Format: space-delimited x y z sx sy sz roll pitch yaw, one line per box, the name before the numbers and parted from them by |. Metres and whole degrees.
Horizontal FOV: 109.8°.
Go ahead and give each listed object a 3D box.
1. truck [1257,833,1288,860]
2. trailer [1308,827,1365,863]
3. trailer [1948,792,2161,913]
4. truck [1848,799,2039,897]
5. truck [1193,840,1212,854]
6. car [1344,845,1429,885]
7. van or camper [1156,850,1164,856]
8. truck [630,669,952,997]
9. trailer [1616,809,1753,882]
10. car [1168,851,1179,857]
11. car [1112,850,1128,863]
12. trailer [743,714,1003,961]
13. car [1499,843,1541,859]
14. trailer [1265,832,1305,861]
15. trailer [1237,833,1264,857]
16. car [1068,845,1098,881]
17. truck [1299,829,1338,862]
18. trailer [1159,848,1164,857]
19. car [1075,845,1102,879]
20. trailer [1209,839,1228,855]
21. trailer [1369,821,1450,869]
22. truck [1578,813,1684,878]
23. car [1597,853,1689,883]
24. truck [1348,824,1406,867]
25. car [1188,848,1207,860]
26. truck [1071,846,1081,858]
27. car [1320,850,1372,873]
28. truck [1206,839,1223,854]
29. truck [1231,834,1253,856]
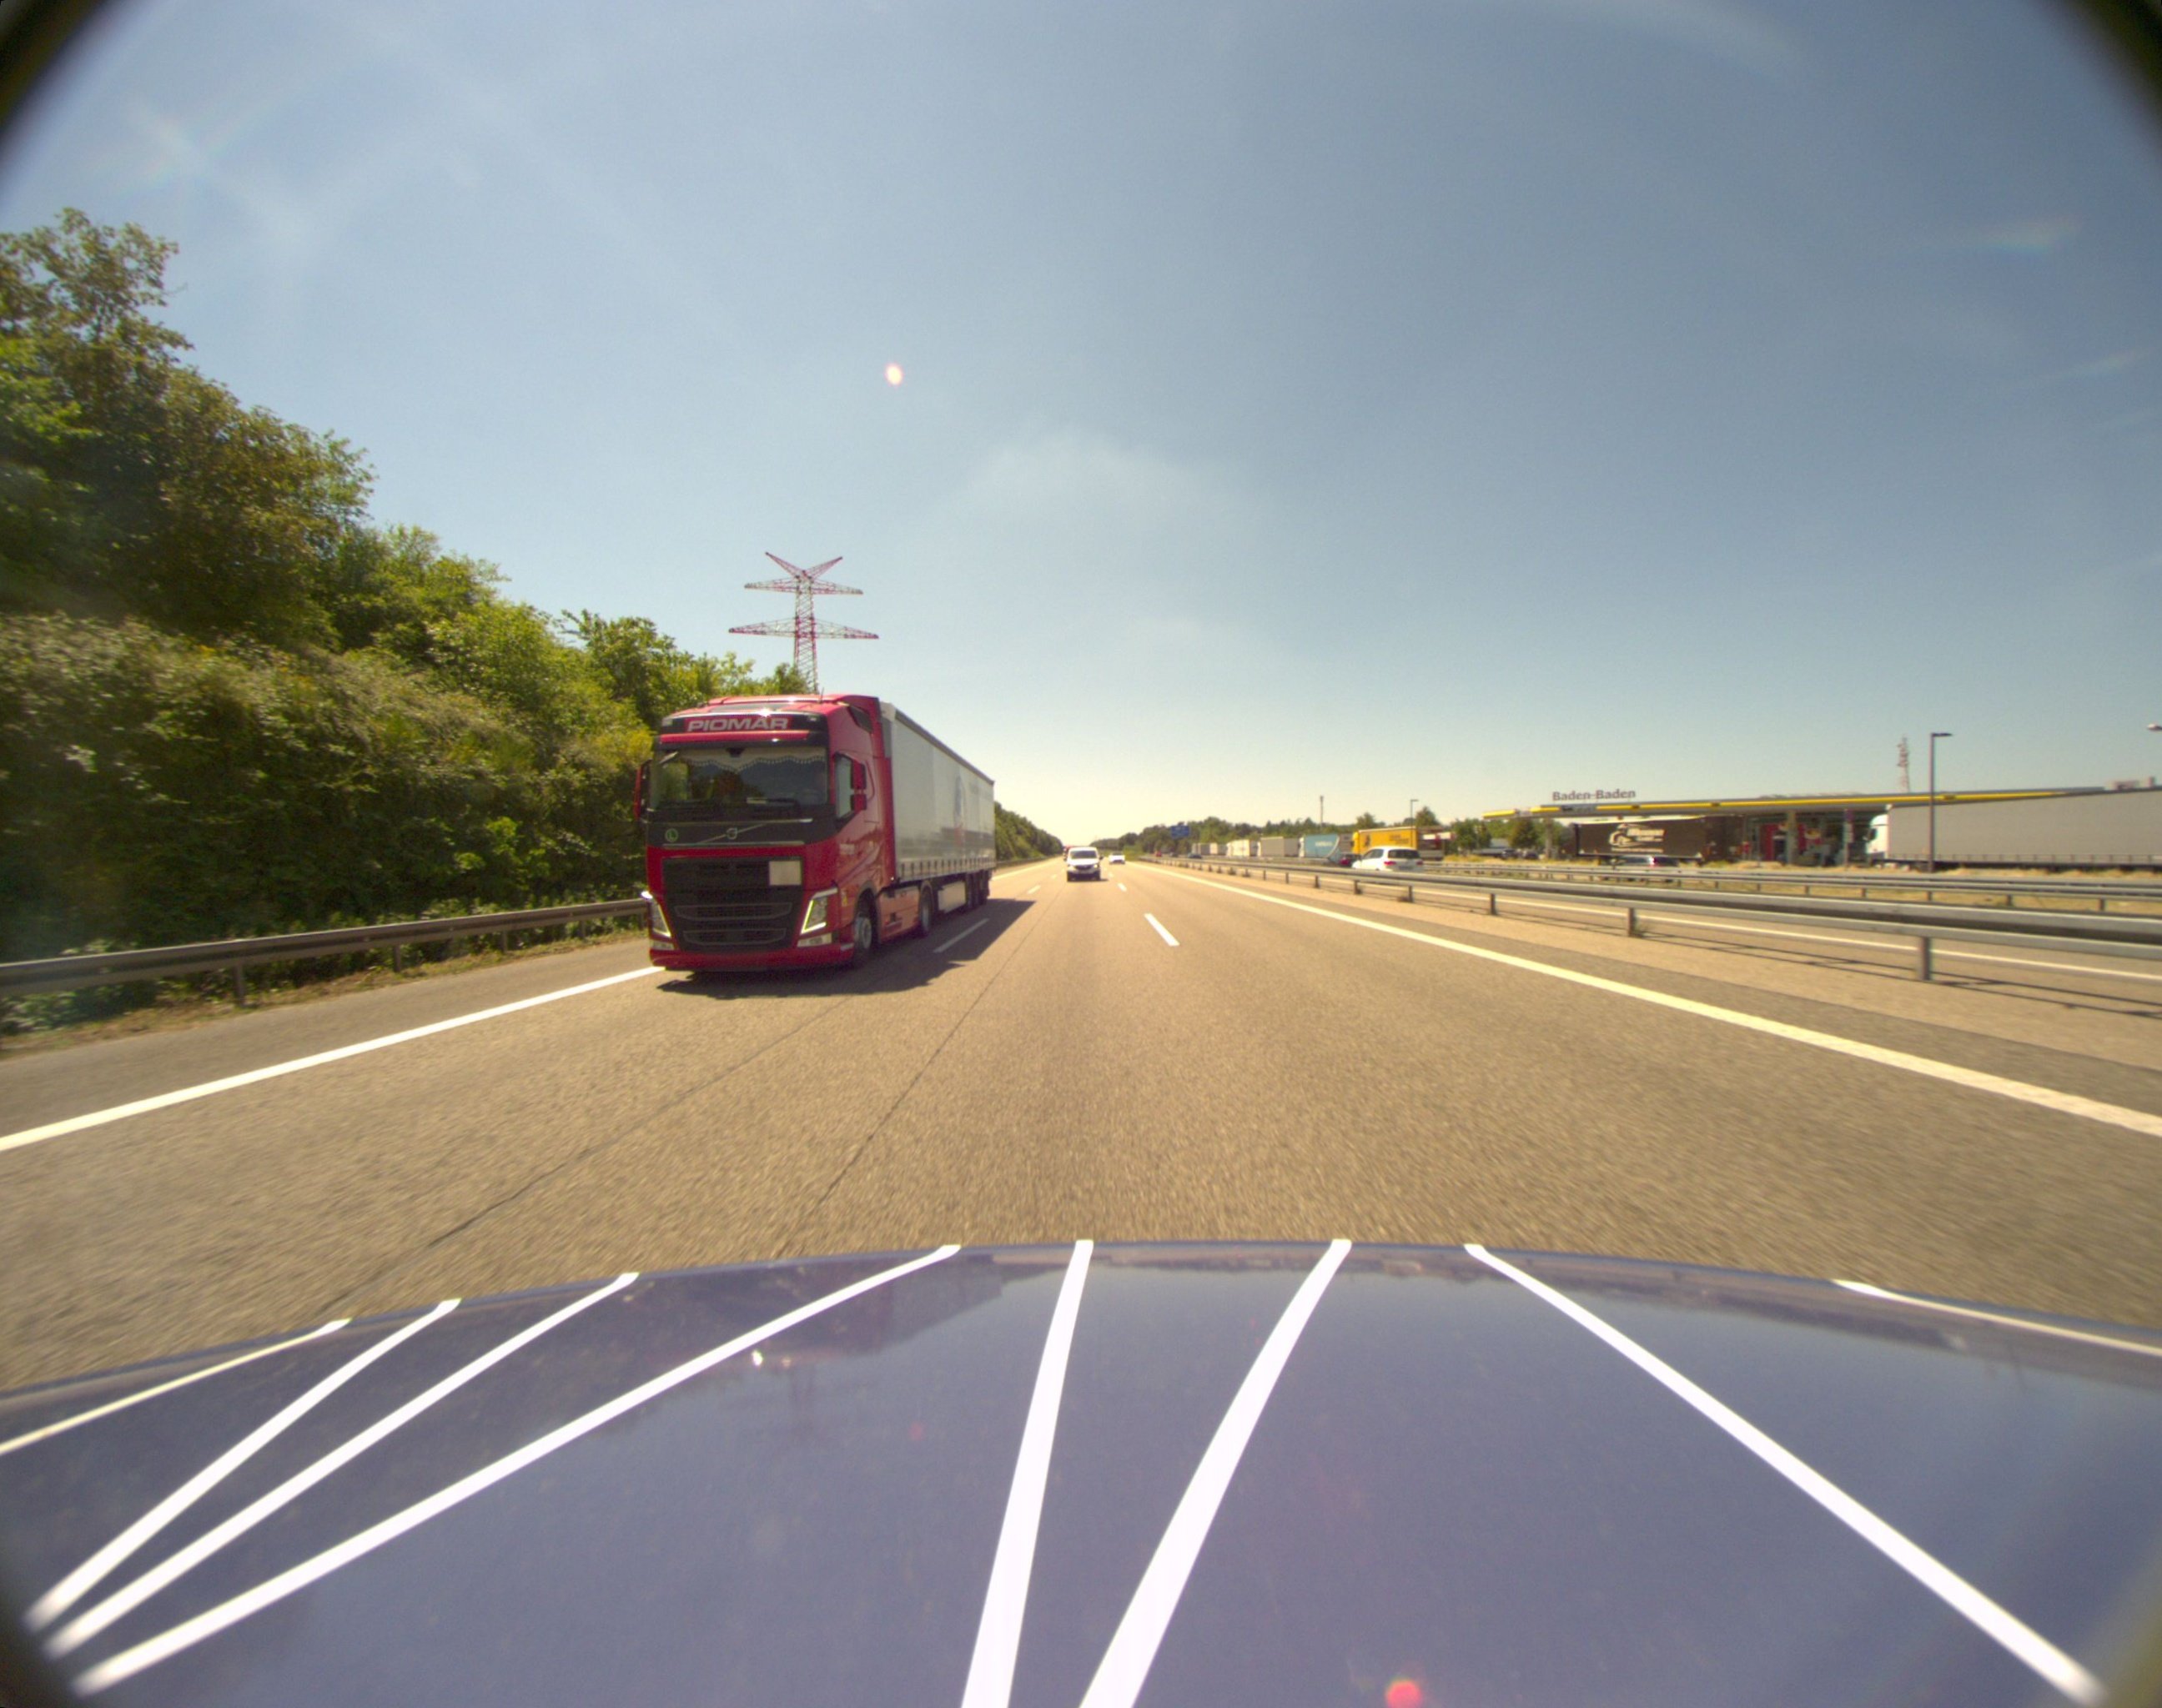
truck | 31.855 -1.264 126.745 3.125 4.134 7.503 -3 1 -1
trailer | 31.685 -1.097 94.812 2.840 4.124 12.082 -3 0 0
trailer | 45.533 -0.203 34.139 3.307 4.846 9.689 -3 1 11
truck | 47.392 -0.340 42.191 3.306 4.822 7.633 -3 1 16
truck | 33.365 -1.978 208.960 2.806 3.622 13.605 -3 0 0
car | 12.728 0.421 32.012 1.722 1.521 4.666 1 1 1
van or camper | 23.177 -0.273 223.162 1.901 1.828 4.746 -1 0 0
truck | -4.102 -0.275 12.749 2.505 3.897 7.096 -2 1 0
trailer | 44.419 -0.618 56.430 3.040 4.822 9.134 -3 1 2
car | 18.864 -0.009 154.987 1.746 1.269 4.318 2 1 1
car | 4.656 0.285 91.105 1.775 1.410 3.401 -3 1 1
trailer | -4.062 -0.315 19.323 2.496 3.887 14.244 -2 1 0
car | 60.586 -0.450 104.905 4.868 1.976 1.954 -2 1 32
trailer | 31.959 -1.173 119.701 3.121 4.134 11.013 -3 1 -1
trailer | 31.515 -1.689 141.676 2.605 4.194 10.513 -3 1 0
car | 0.101 0.469 40.836 1.501 1.799 3.394 -3 1 0
truck | 31.599 -1.127 101.426 2.857 4.049 7.088 -3 1 0
trailer | 23.182 -0.469 218.497 1.170 2.355 1.998 -1 1 0
car | 0.420 0.439 44.300 1.413 1.795 3.200 -3 1 0
trailer | 38.303 -2.009 211.707 3.102 4.132 12.009 -3 0 0
trailer | 31.445 -0.854 73.418 2.840 4.195 11.081 -3 1 0
truck | 44.632 -0.689 62.023 3.033 4.822 7.878 -3 1 2
car | 31.391 0.722 42.623 1.817 1.480 4.508 -3 0 0
truck | 31.412 -0.896 80.992 2.840 4.176 7.917 -3 1 0
car | 16.610 -0.005 108.461 1.977 1.637 5.016 -3 0 0
truck | -1.439 -0.610 225.632 2.540 3.656 5.219 -3 1 1
car | 17.469 0.439 50.299 1.873 1.390 4.545 1 1 1
truck | 38.336 -2.061 218.531 3.103 4.128 8.315 -3 1 0
truck | 31.500 -1.753 149.117 2.588 4.164 7.935 -2 1 0
